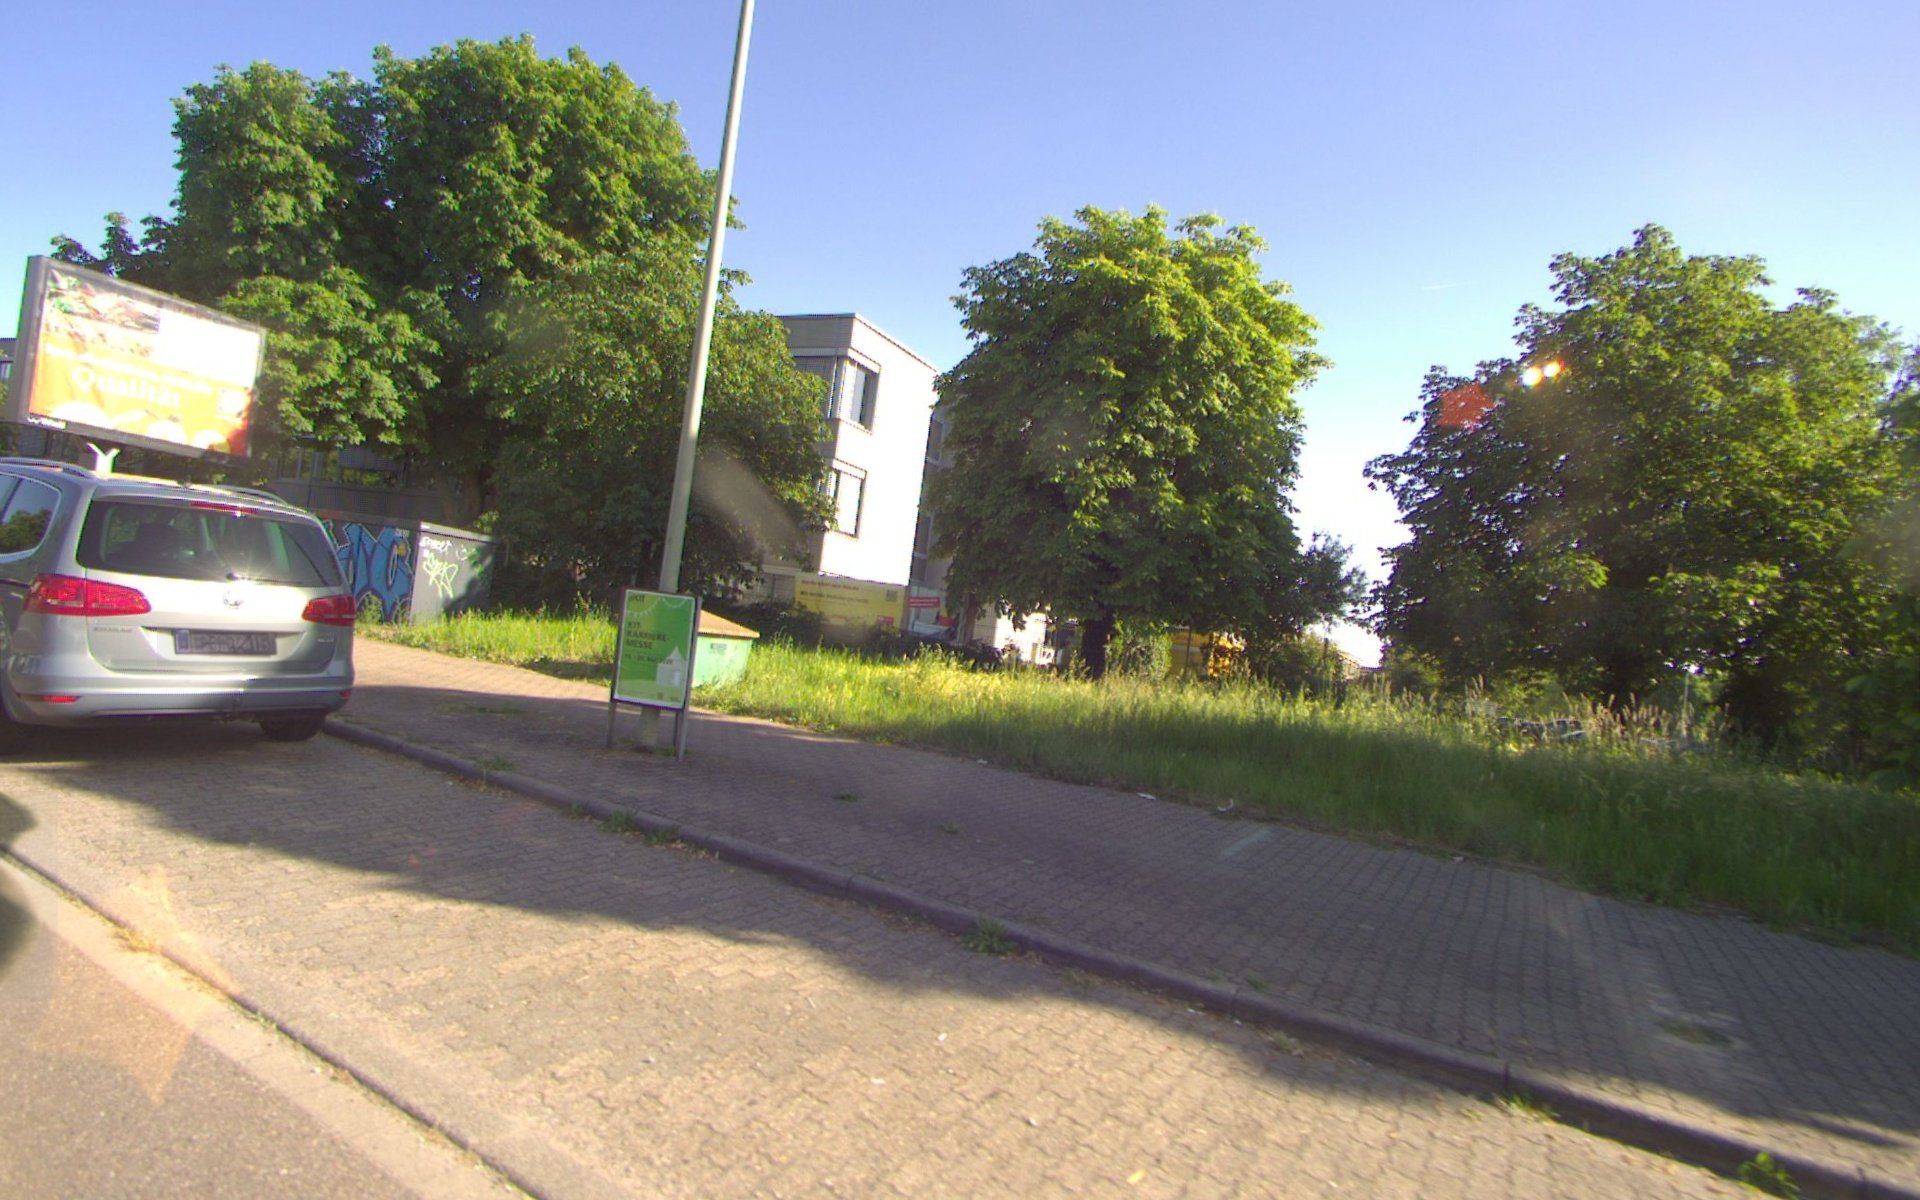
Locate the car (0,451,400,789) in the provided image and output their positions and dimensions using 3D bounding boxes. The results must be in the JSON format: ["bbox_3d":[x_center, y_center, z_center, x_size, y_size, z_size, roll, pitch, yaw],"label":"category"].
[{"bbox_3d":[-6.283,-0.045,7.165,4.535,1.744,1.875,7,0,31],"label":"car"}]
